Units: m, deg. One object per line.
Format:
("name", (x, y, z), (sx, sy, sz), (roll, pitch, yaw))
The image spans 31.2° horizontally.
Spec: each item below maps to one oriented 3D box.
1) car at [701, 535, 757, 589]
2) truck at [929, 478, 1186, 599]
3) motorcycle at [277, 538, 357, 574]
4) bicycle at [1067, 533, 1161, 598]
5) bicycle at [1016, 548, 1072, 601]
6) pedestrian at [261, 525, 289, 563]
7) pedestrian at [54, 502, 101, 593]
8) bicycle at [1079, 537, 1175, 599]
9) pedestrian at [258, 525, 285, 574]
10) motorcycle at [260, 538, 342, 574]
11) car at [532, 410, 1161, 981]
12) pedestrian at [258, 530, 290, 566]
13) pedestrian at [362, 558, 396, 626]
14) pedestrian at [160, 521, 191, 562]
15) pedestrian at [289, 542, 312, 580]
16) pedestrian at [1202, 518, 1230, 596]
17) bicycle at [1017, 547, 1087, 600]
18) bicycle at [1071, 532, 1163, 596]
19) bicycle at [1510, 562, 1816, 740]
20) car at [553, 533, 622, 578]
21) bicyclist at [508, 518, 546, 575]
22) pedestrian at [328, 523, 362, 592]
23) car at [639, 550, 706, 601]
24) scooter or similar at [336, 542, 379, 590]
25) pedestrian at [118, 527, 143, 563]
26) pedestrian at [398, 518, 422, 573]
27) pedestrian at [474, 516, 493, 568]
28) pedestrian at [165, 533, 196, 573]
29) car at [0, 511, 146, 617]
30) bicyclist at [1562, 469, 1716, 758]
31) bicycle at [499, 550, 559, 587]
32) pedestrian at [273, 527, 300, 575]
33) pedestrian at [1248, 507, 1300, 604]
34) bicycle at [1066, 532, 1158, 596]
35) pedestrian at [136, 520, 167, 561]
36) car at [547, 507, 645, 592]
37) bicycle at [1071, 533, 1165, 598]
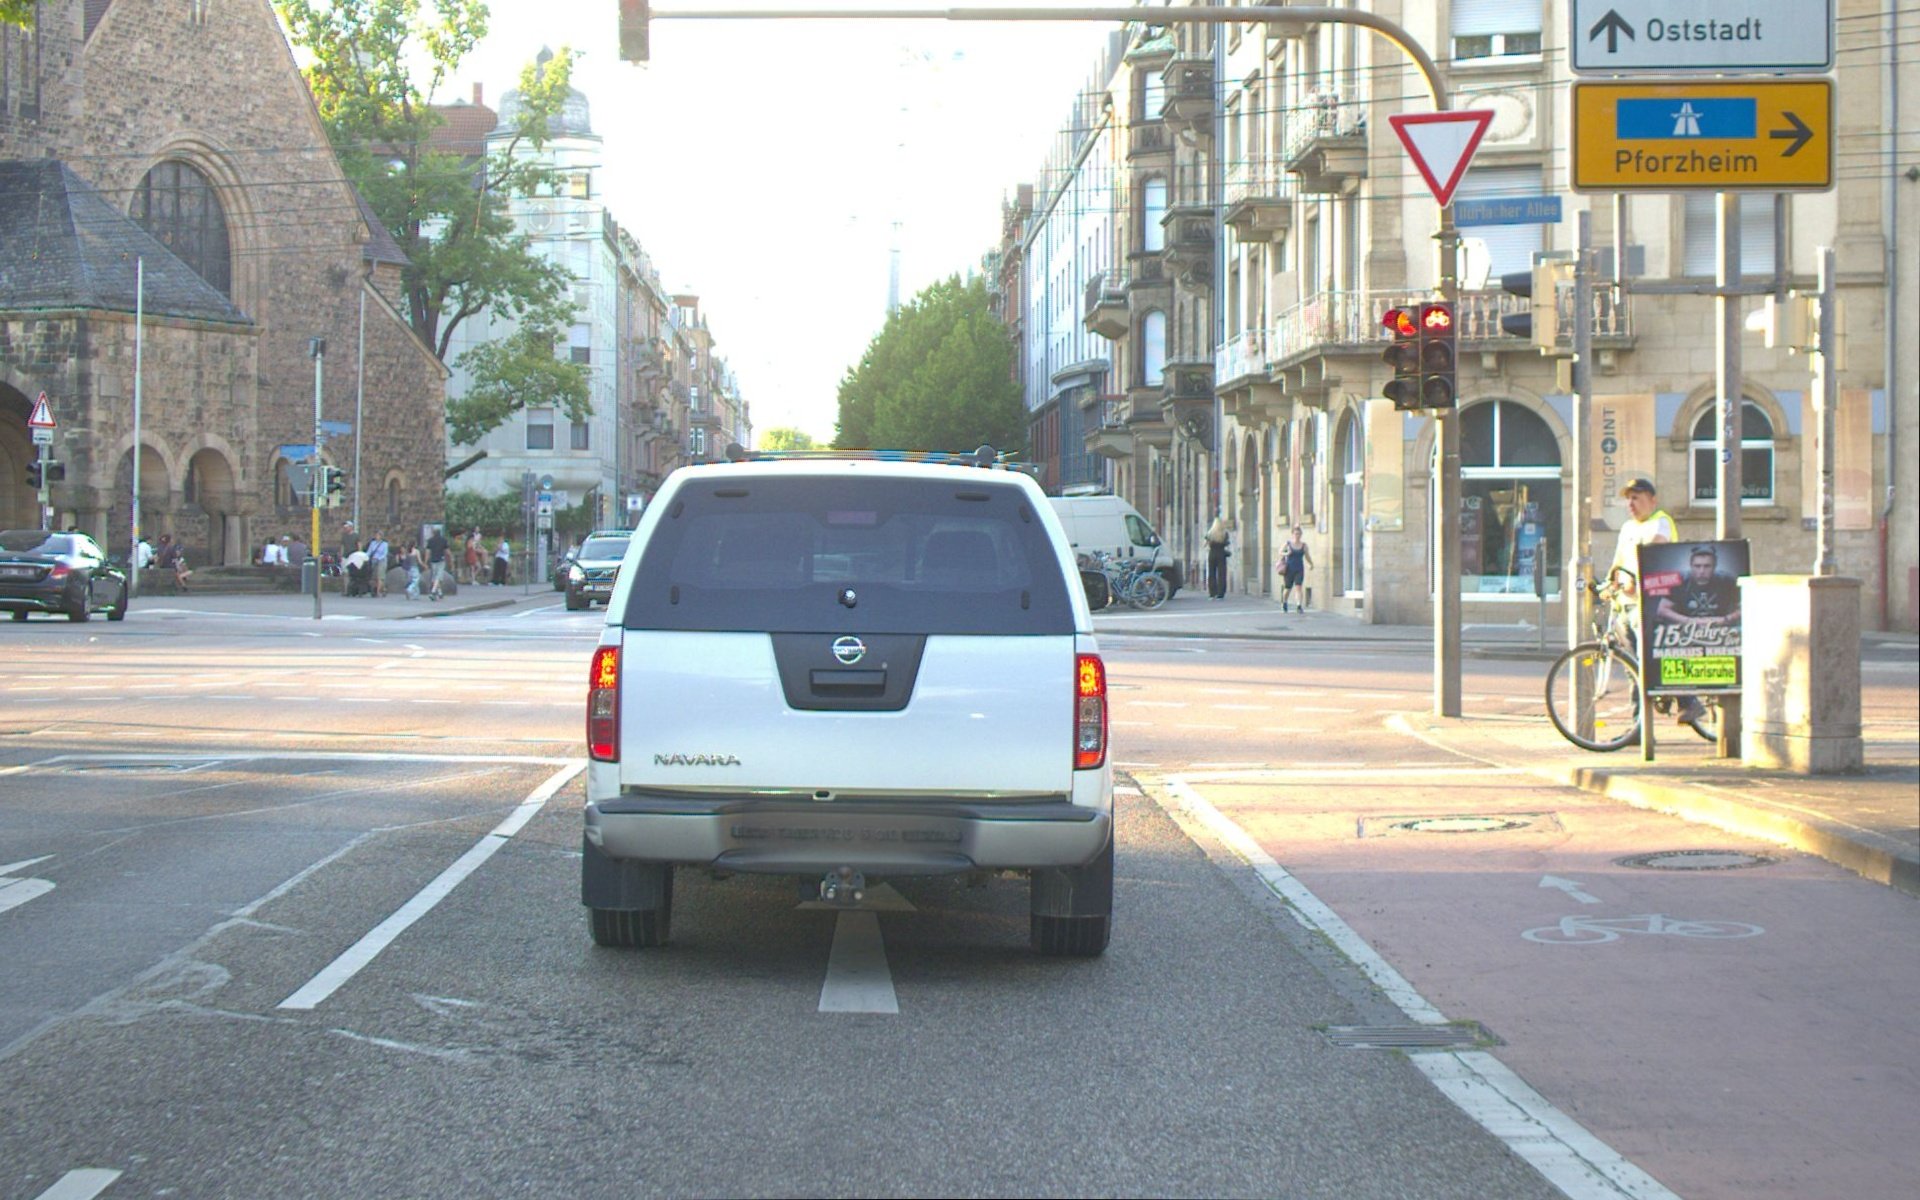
("car", (-8.984, -1.470, 133.843), (1.993, 2.007, 4.951), (0, 0, -2))
("truck", (2.184, -1.333, 75.337), (5.658, 2.556, 2.286), (0, 1, -44))
("motorcycle", (-18.756, -1.284, 100.293), (2.243, 0.984, 0.708), (1, 0, -6))
("bicycle", (3.157, -0.705, 70.436), (1.817, 1.233, 0.478), (-3, 1, -2))
("bicycle", (1.705, -0.519, 70.135), (1.076, 1.021, 0.317), (-3, 1, -2))
("pedestrian", (-17.337, -1.423, 86.971), (0.522, 0.957, 0.479), (1, 0, 17))
("pedestrian", (-18.628, -1.114, 72.613), (0.812, 1.894, 0.666), (1, 0, -2))
("bicycle", (3.338, -0.646, 68.785), (1.817, 1.146, 0.636), (-3, 1, -2))
("pedestrian", (-17.642, -1.298, 88.064), (0.478, 1.241, 0.523), (1, 0, 17))
("motorcycle", (-18.829, -1.265, 98.265), (2.243, 0.984, 0.708), (1, 0, -6))
("car", (-0.388, 0.289, 13.104), (1.993, 1.803, 4.000), (1, 1, -1))
("pedestrian", (-18.975, -1.438, 95.129), (0.552, 0.957, 0.709), (1, 0, 20))
("pedestrian", (-14.591, -0.199, 86.347), (0.634, 1.692, 0.602), (1, 0, 13))
("pedestrian", (-18.542, -1.387, 81.262), (0.522, 0.957, 0.479), (1, 0, 19))
("pedestrian", (-16.662, -0.988, 86.851), (0.521, 0.957, 0.479), (1, 0, -16))
("pedestrian", (5.472, -0.925, 73.480), (0.527, 1.648, 0.547), (1, 0, -1))
("bicycle", (1.890, -0.539, 70.847), (1.371, 1.021, 0.317), (-3, 1, -2))
("bicycle", (3.250, -0.745, 71.162), (1.817, 1.233, 0.412), (-3, 1, -2))
("bicycle", (4.552, 0.324, 22.201), (2.065, 1.106, 0.628), (1, 1, -33))
("car", (-11.915, -1.425, 110.148), (1.858, 1.393, 4.000), (1, 1, -1))
("bicyclist", (-12.681, -1.560, 100.702), (0.962, 1.639, 0.599), (1, 1, 42))
("pedestrian", (-15.461, -1.069, 86.436), (0.634, 1.692, 0.602), (1, 2, 16))
("car", (-9.770, -0.852, 117.078), (1.993, 1.552, 4.769), (3, 1, -2))
("scooter or similar", (-14.960, -0.850, 85.413), (0.634, 1.099, 1.078), (3, 5, 17))
("pedestrian", (-22.054, -1.458, 91.441), (0.551, 0.957, 0.710), (1, 0, -7))
("pedestrian", (-17.017, -1.698, 106.390), (0.642, 1.689, 0.562), (1, 0, -1))
("pedestrian", (-15.697, -1.907, 113.258), (0.560, 1.689, 0.645), (1, 0, -8))
("pedestrian", (-18.686, -1.127, 82.435), (0.478, 0.957, 0.522), (1, 0, 29))
("car", (-14.517, -0.577, 54.668), (1.994, 1.612, 4.000), (1, 1, 3))
("bicyclist", (4.359, 0.080, 22.070), (0.696, 1.818, 0.628), (1, 0, -33))
("bicycle", (-12.626, -0.915, 100.641), (1.944, 1.040, 0.599), (2, 1, 41))
("pedestrian", (-17.381, -1.260, 88.738), (0.478, 1.241, 0.523), (1, 0, 17))
("pedestrian", (5.799, -0.819, 63.392), (0.788, 1.773, 0.543), (1, 0, 25))
("bicycle", (3.171, -0.752, 71.767), (1.817, 1.233, 0.410), (-3, 1, -2))
("pedestrian", (-19.168, -1.402, 81.537), (0.522, 0.957, 0.479), (1, 0, 19))
("car", (-8.531, -1.216, 80.872), (1.993, 1.778, 4.799), (1, 3, -3))
("bicycle", (3.204, -0.702, 69.725), (1.817, 1.233, 0.488), (-3, 1, -2))
